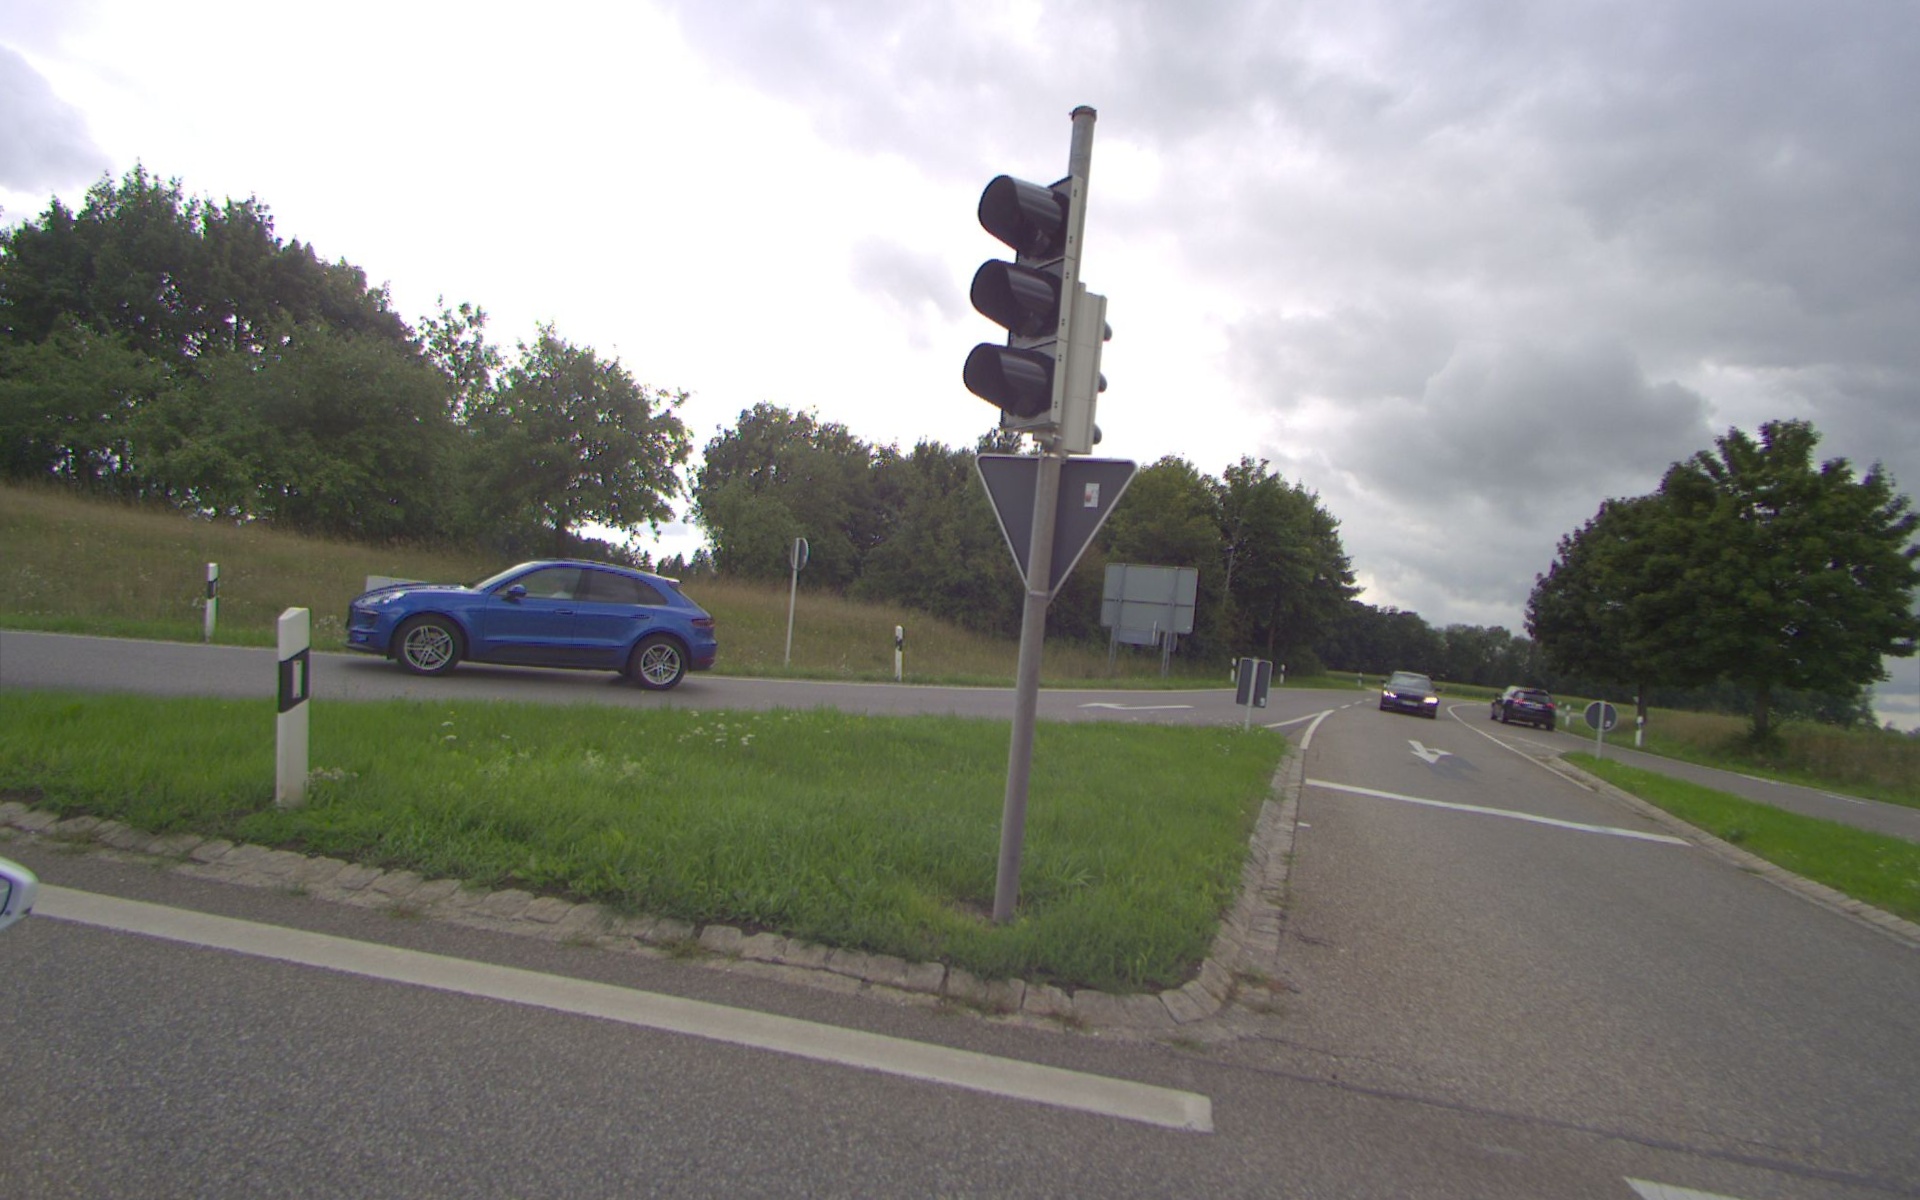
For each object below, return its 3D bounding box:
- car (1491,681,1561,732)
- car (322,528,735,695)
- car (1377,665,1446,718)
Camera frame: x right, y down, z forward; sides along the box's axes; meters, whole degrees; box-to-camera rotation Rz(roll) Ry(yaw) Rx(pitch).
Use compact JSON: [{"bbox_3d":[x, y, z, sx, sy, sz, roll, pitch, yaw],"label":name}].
[{"bbox_3d":[22.089,4.121,39.395,1.780,1.469,4.268,7,1,23],"label":"car"},{"bbox_3d":[-5.690,0.209,13.568,4.706,1.589,1.985,8,-1,-31],"label":"car"},{"bbox_3d":[16.092,3.222,35.971,1.964,1.521,4.666,7,-1,24],"label":"car"}]
